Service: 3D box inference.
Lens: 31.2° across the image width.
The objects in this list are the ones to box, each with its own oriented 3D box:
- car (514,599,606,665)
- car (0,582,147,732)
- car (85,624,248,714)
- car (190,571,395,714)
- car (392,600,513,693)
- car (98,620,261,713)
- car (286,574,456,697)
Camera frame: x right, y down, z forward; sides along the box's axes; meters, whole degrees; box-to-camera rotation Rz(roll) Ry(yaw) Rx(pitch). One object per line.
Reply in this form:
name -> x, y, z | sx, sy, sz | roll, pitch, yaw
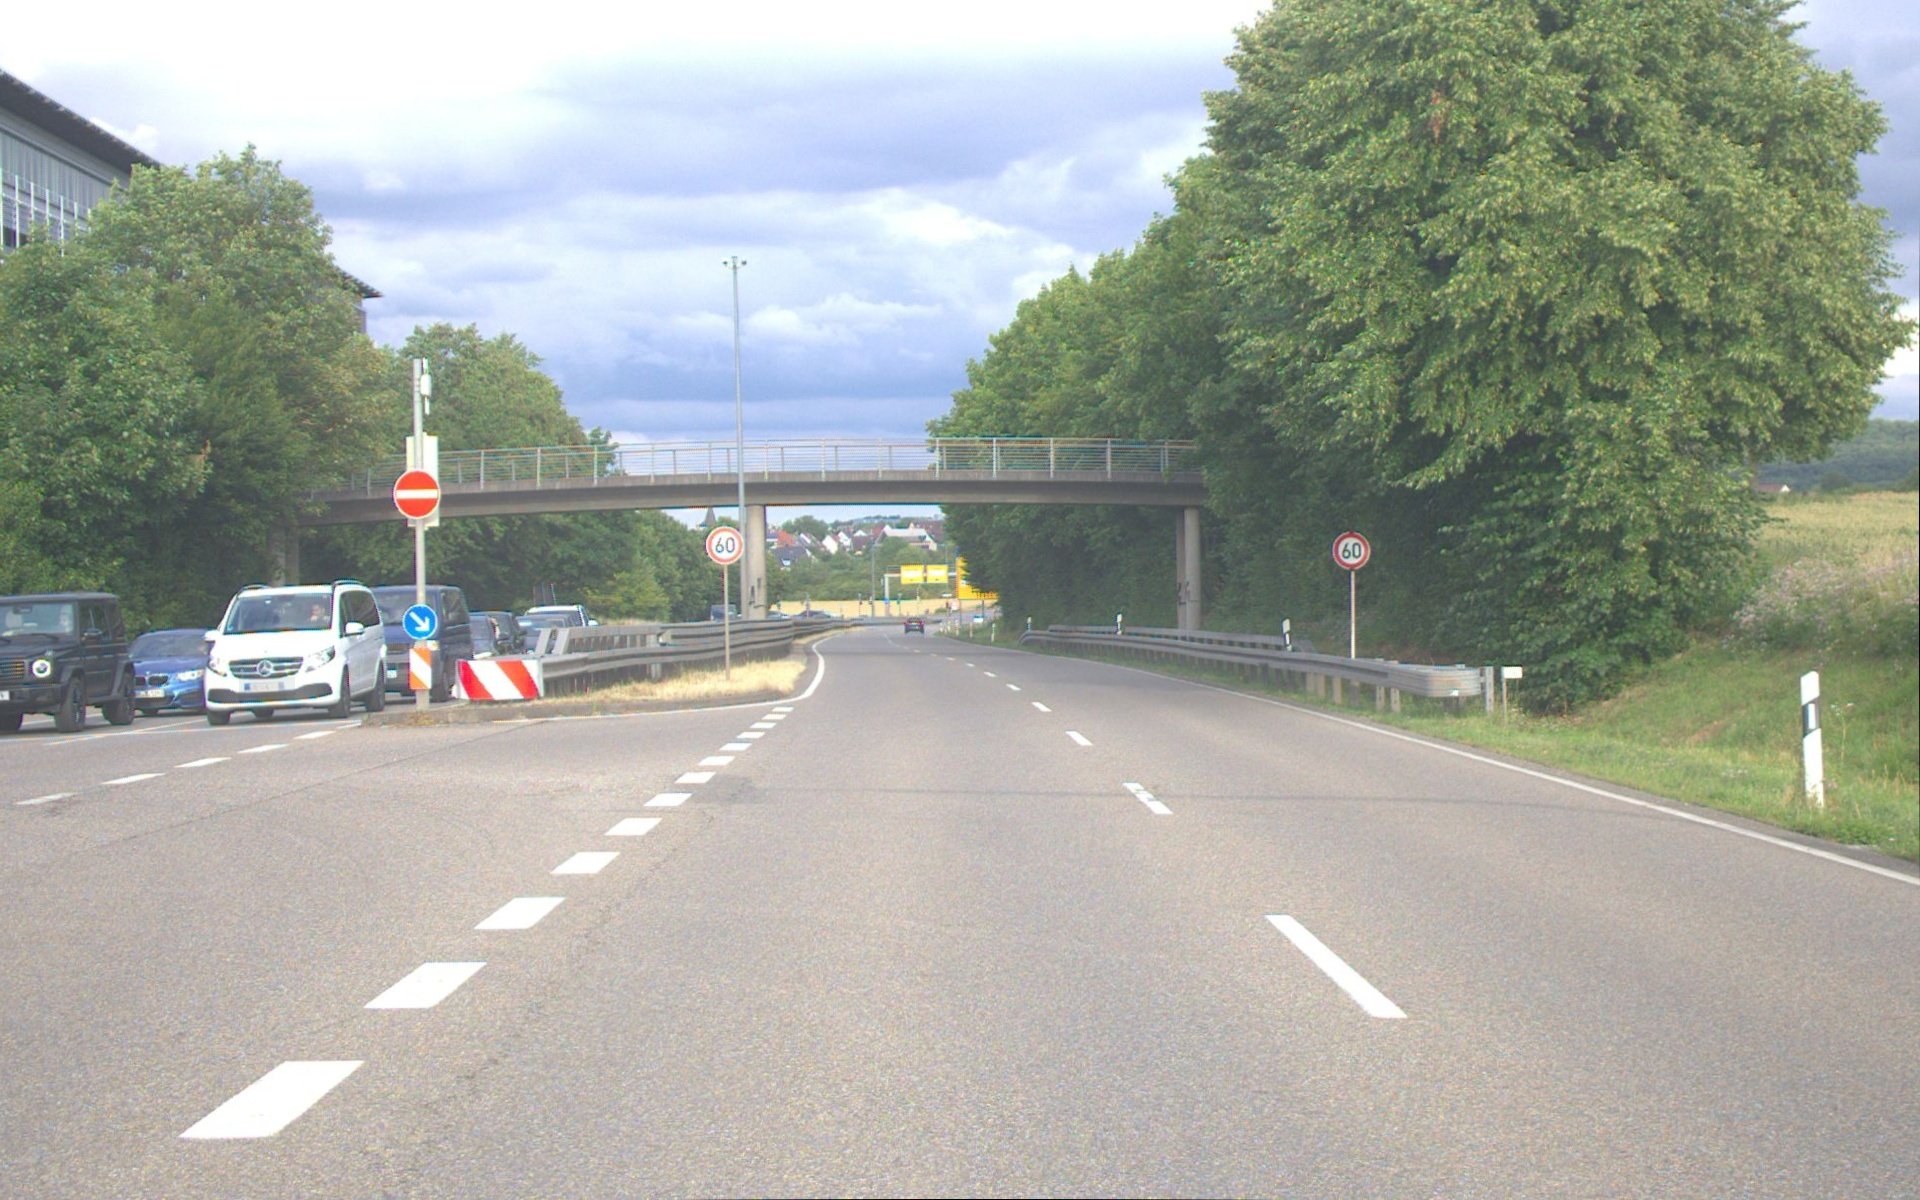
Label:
car -> -9.840, 0.756, 84.824 | 1.822, 1.579, 4.791 | 0, 0, -2
car -> -13.119, 0.793, 48.929 | 1.934, 1.983, 5.091 | -2, 0, -1
car -> -12.844, 1.097, 55.868 | 1.721, 1.236, 4.000 | -4, 0, -1
car -> -9.467, 0.576, 49.174 | 1.934, 1.866, 5.347 | -2, 0, -1
car -> -9.540, 0.846, 64.940 | 1.712, 1.583, 4.555 | -1, 1, -2
car -> -12.650, 1.057, 55.958 | 1.648, 1.383, 4.185 | -2, 0, 0
car -> -9.654, 0.570, 56.709 | 1.898, 1.910, 5.050 | 1, 0, 0
